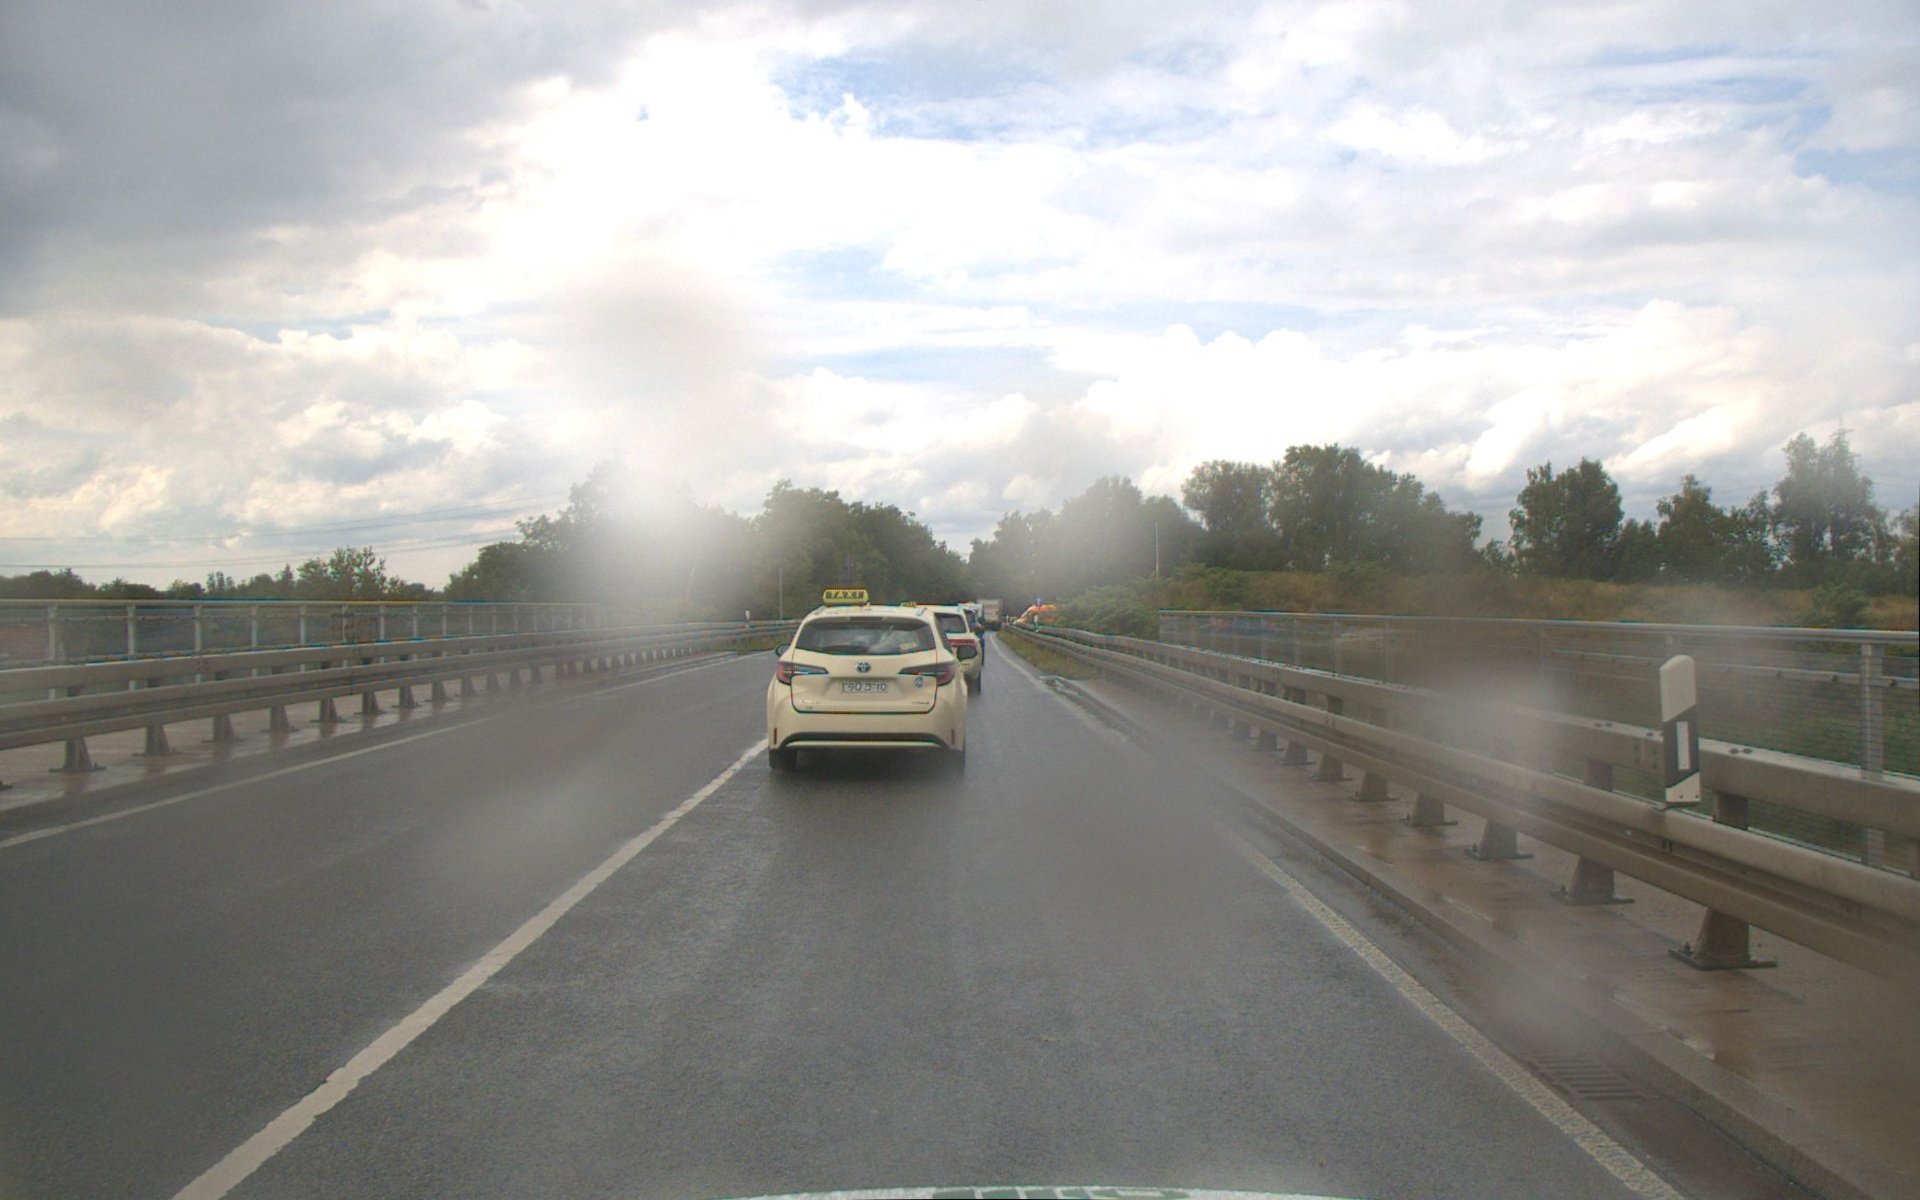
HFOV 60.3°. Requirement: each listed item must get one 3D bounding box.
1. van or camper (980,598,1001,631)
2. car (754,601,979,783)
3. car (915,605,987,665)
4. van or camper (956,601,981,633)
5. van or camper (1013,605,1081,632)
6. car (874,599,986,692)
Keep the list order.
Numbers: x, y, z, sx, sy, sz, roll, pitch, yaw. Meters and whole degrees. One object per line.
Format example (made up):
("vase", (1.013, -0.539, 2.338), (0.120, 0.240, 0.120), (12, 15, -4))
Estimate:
("van or camper", (3.393, 1.573, 184.853), (2.284, 3.625, 6.307), (1, 0, 1))
("car", (-0.779, 0.752, 15.605), (1.816, 1.418, 4.170), (1, 0, -1))
("car", (-0.248, 0.894, 44.242), (1.816, 1.468, 4.170), (1, 0, -1))
("van or camper", (0.813, 1.533, 154.503), (2.284, 2.914, 6.307), (1, 0, 1))
("van or camper", (7.576, 1.592, 144.120), (5.583, 2.281, 2.012), (1, 0, -15))
("car", (-0.513, 0.740, 29.284), (1.816, 1.468, 4.170), (1, 0, -1))
